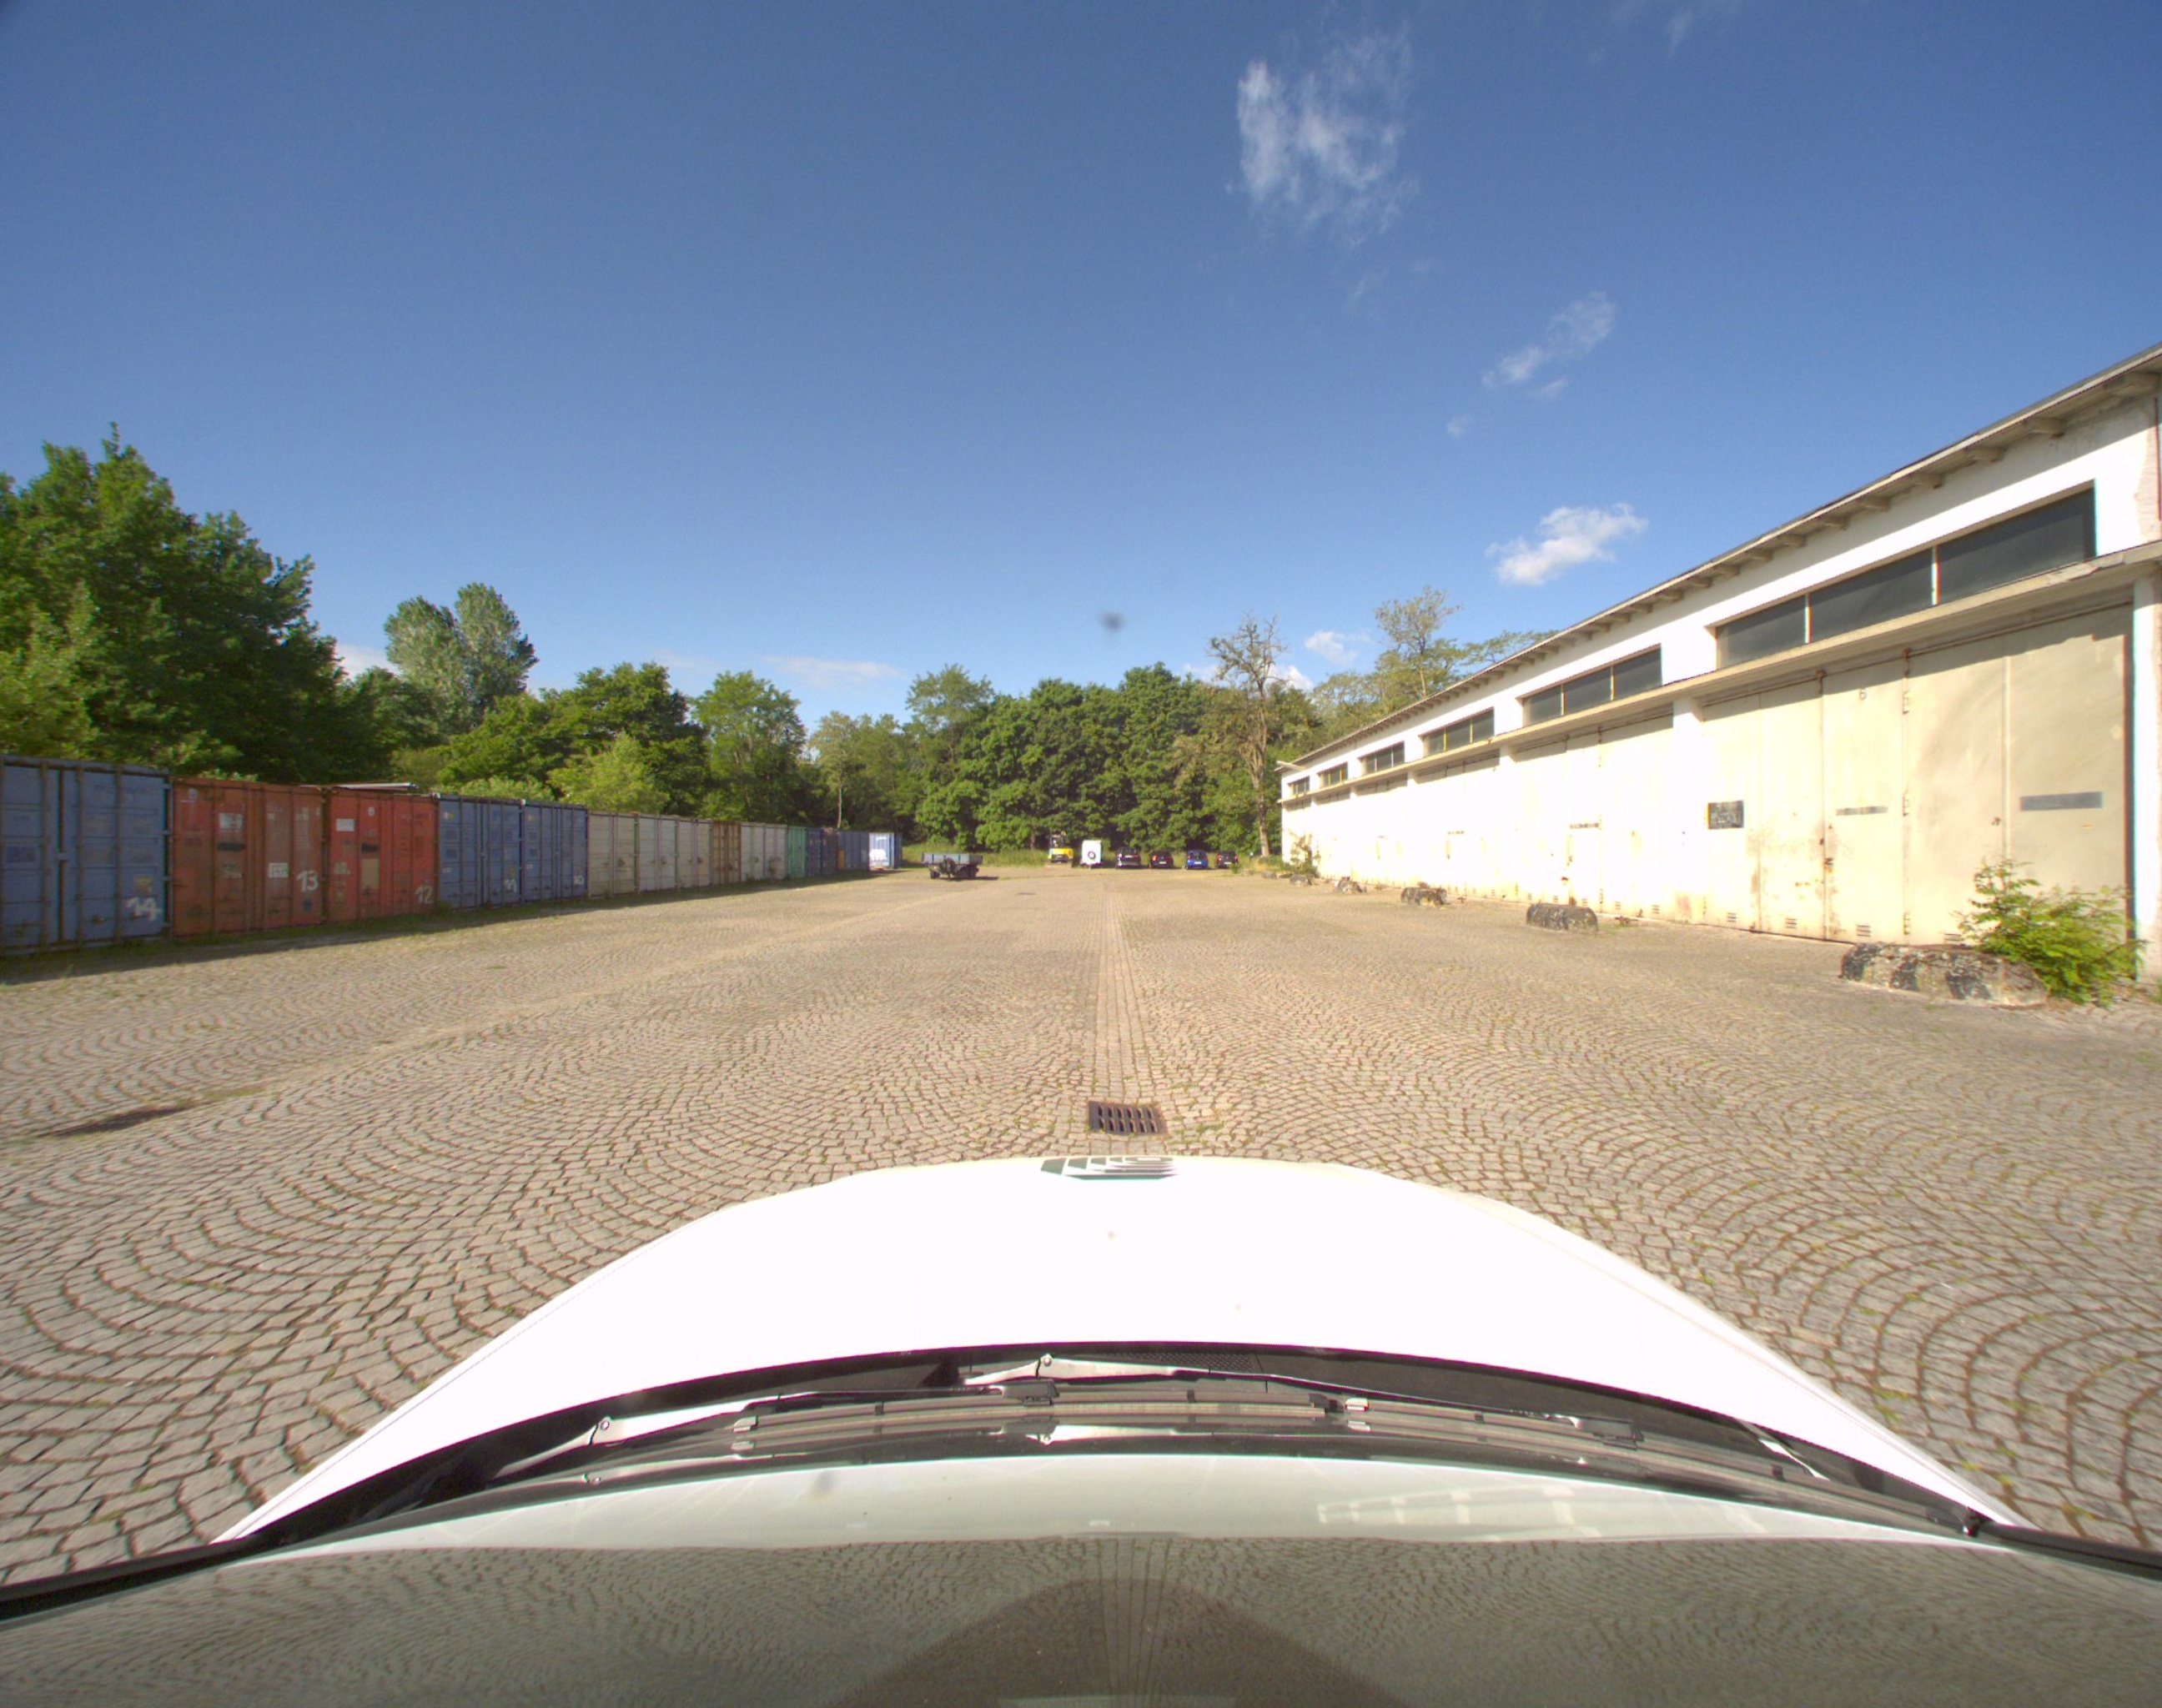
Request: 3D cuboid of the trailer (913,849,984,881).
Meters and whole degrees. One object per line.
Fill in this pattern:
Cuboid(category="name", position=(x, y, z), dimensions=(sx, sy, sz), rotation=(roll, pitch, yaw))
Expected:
Cuboid(category="trailer", position=(-6.944, 0.541, 43.456), dimensions=(2.696, 1.465, 6.247), rotation=(1, 1, 0))

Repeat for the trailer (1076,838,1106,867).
Cuboid(category="trailer", position=(0.827, -0.153, 63.426), dimensions=(2.185, 2.094, 5.753), rotation=(1, 1, 1))

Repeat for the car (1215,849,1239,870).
Cuboid(category="car", position=(11.184, 0.365, 62.591), dimensions=(1.734, 1.436, 4.193), rotation=(1, 1, 8))

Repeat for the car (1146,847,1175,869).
Cuboid(category="car", position=(5.944, 0.290, 61.329), dimensions=(1.857, 1.470, 4.297), rotation=(1, 1, 1))

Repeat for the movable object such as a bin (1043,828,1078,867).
Cuboid(category="movable object such as a bin", position=(-1.527, -0.552, 64.058), dimensions=(2.297, 2.896, 5.755), rotation=(1, 1, 2))

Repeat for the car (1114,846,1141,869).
Cuboid(category="car", position=(3.452, 0.241, 61.003), dimensions=(1.857, 1.589, 4.297), rotation=(1, 1, 1))

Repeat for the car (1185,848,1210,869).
Cuboid(category="car", position=(8.701, 0.299, 61.222), dimensions=(1.735, 1.436, 4.191), rotation=(1, 1, 7))
